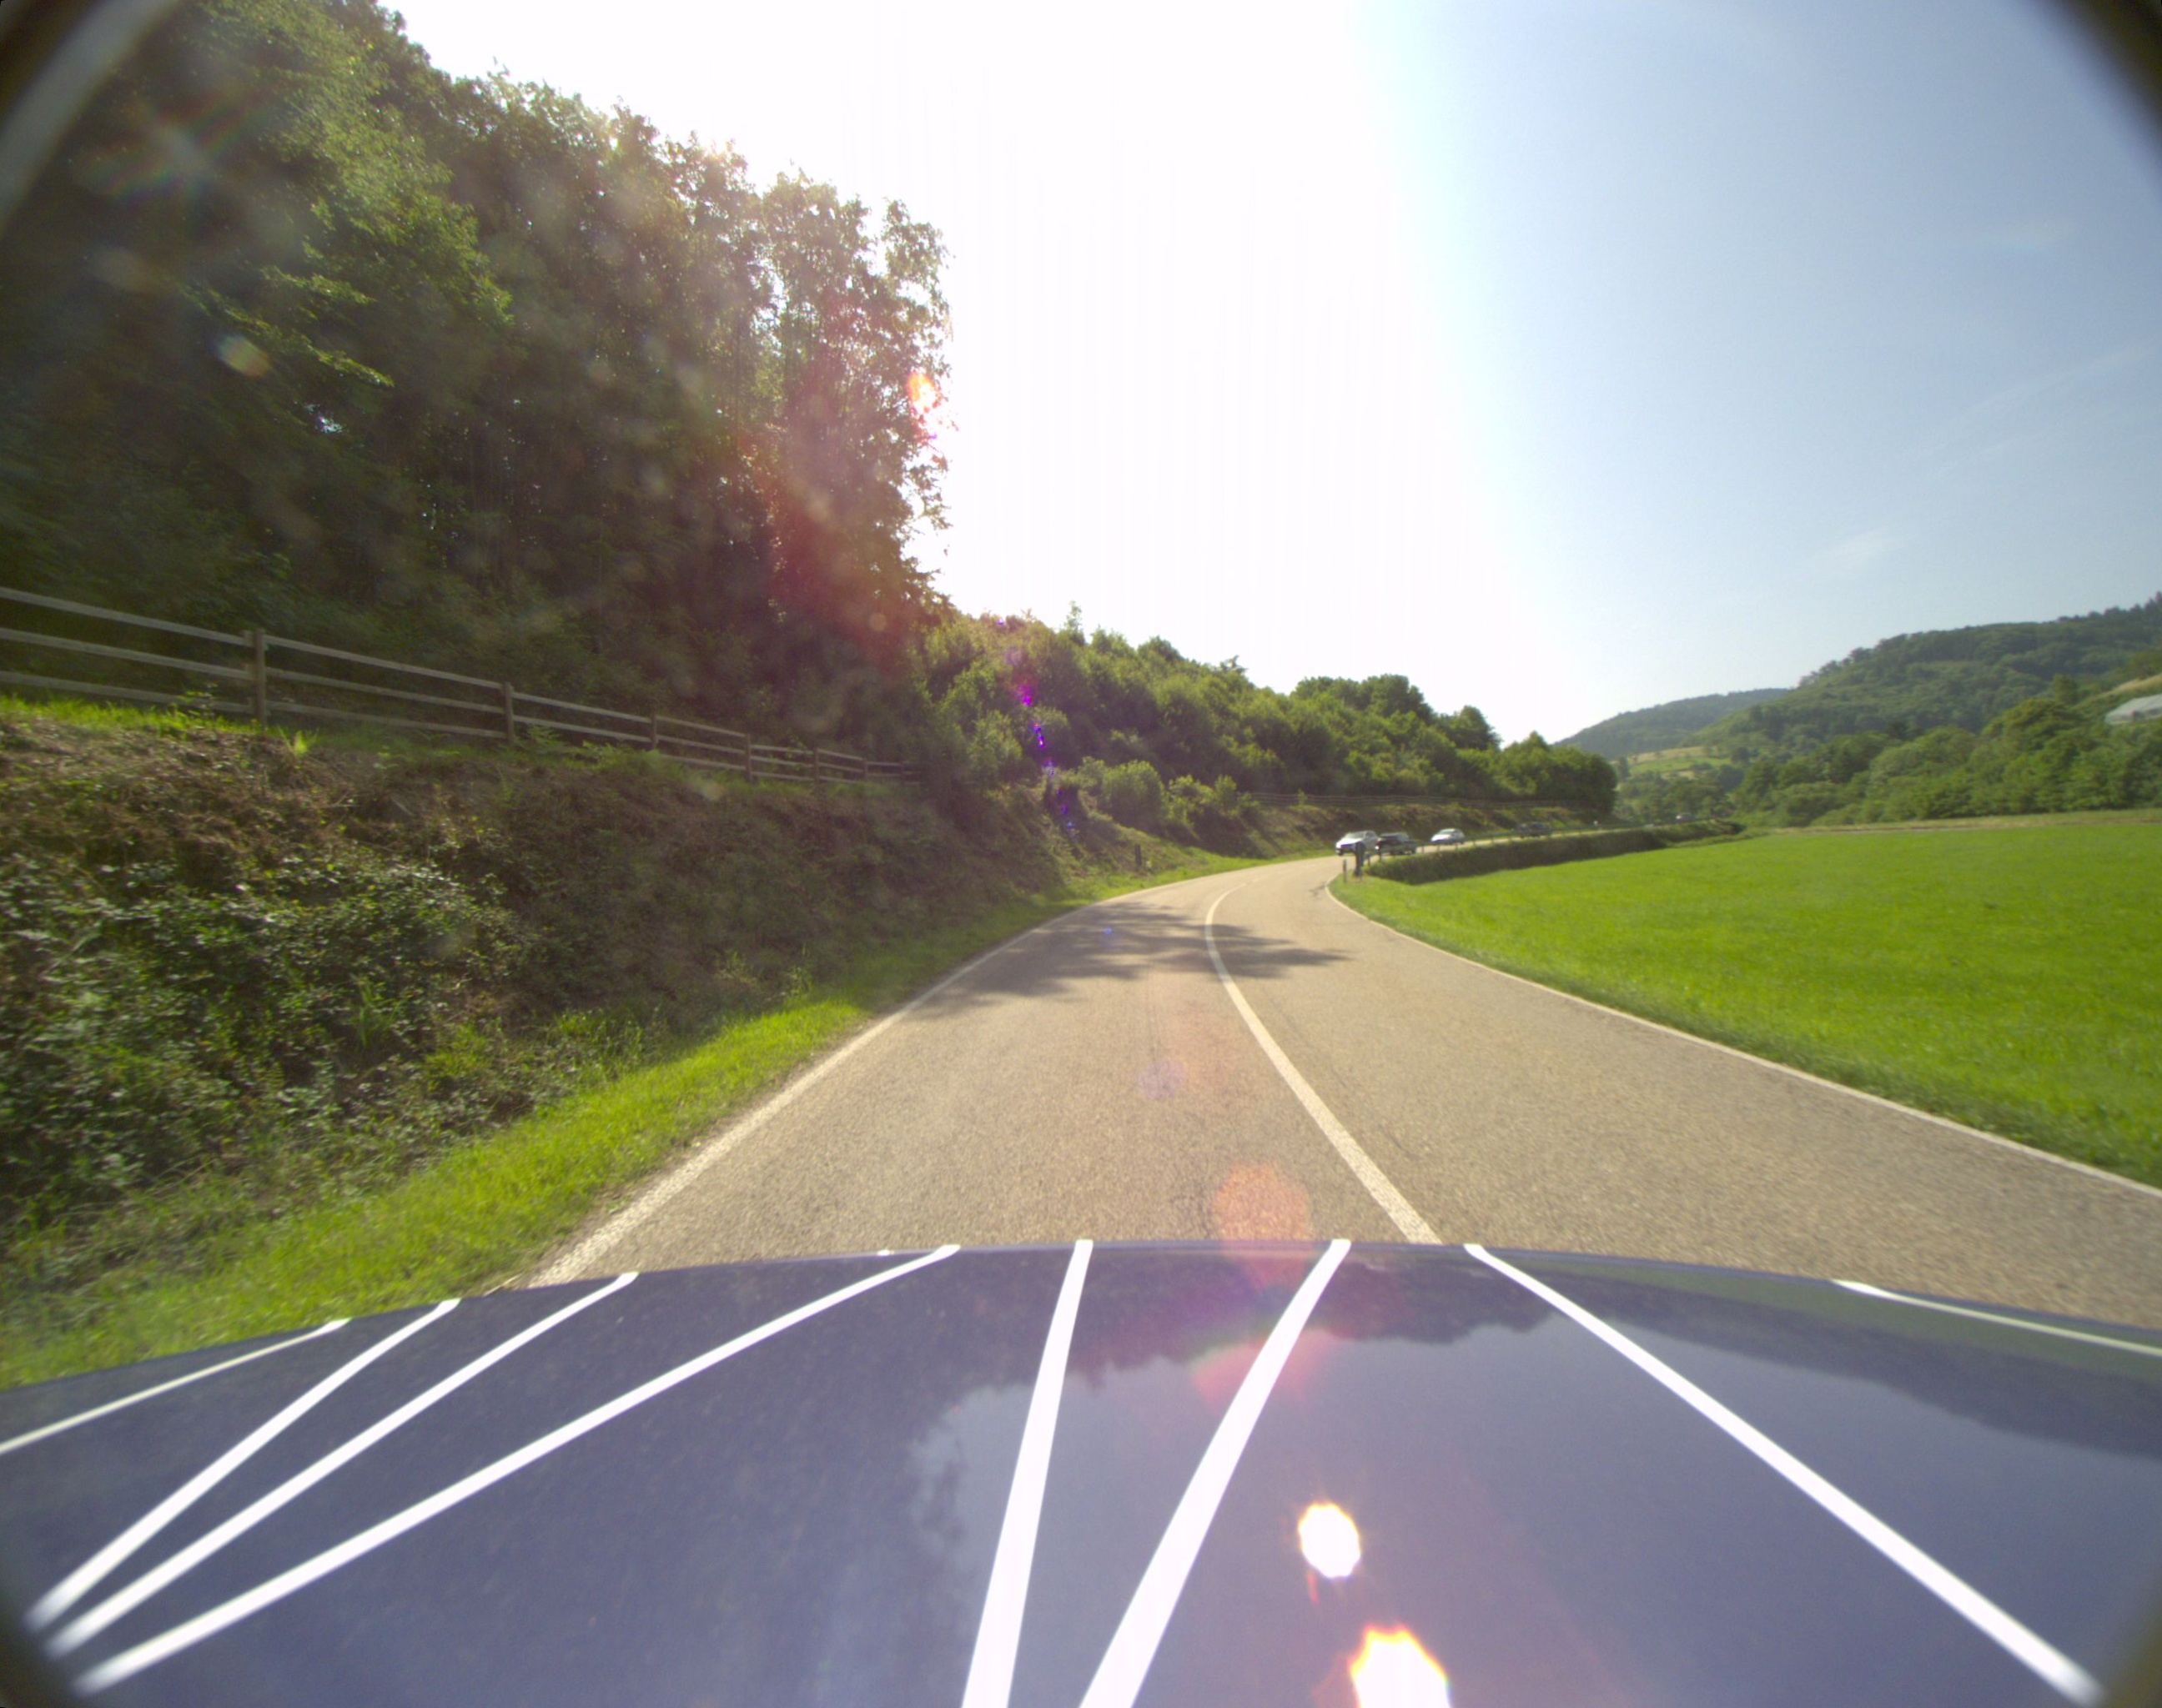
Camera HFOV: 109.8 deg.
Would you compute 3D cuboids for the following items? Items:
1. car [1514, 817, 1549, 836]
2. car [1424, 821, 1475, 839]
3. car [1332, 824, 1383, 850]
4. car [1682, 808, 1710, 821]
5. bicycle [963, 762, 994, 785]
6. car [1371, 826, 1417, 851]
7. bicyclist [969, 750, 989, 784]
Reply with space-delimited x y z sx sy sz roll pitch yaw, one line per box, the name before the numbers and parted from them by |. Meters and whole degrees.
car | 45.019 -2.760 75.877 1.951 1.730 4.905 -4 -1 43
car | 34.358 -2.218 70.793 4.679 1.482 2.143 -3 0 -33
car | 21.218 -1.308 58.237 2.114 1.803 4.464 -4 -1 42
car | 84.213 -5.407 104.001 4.006 1.665 1.709 -3 -1 -33
bicycle | -4.968 -3.887 36.878 0.623 0.909 1.599 -5 -1 25
car | 22.810 -1.169 55.256 1.876 1.578 4.603 -2 1 38
bicyclist | -4.968 -4.238 36.953 0.624 1.515 0.614 -5 -1 25
